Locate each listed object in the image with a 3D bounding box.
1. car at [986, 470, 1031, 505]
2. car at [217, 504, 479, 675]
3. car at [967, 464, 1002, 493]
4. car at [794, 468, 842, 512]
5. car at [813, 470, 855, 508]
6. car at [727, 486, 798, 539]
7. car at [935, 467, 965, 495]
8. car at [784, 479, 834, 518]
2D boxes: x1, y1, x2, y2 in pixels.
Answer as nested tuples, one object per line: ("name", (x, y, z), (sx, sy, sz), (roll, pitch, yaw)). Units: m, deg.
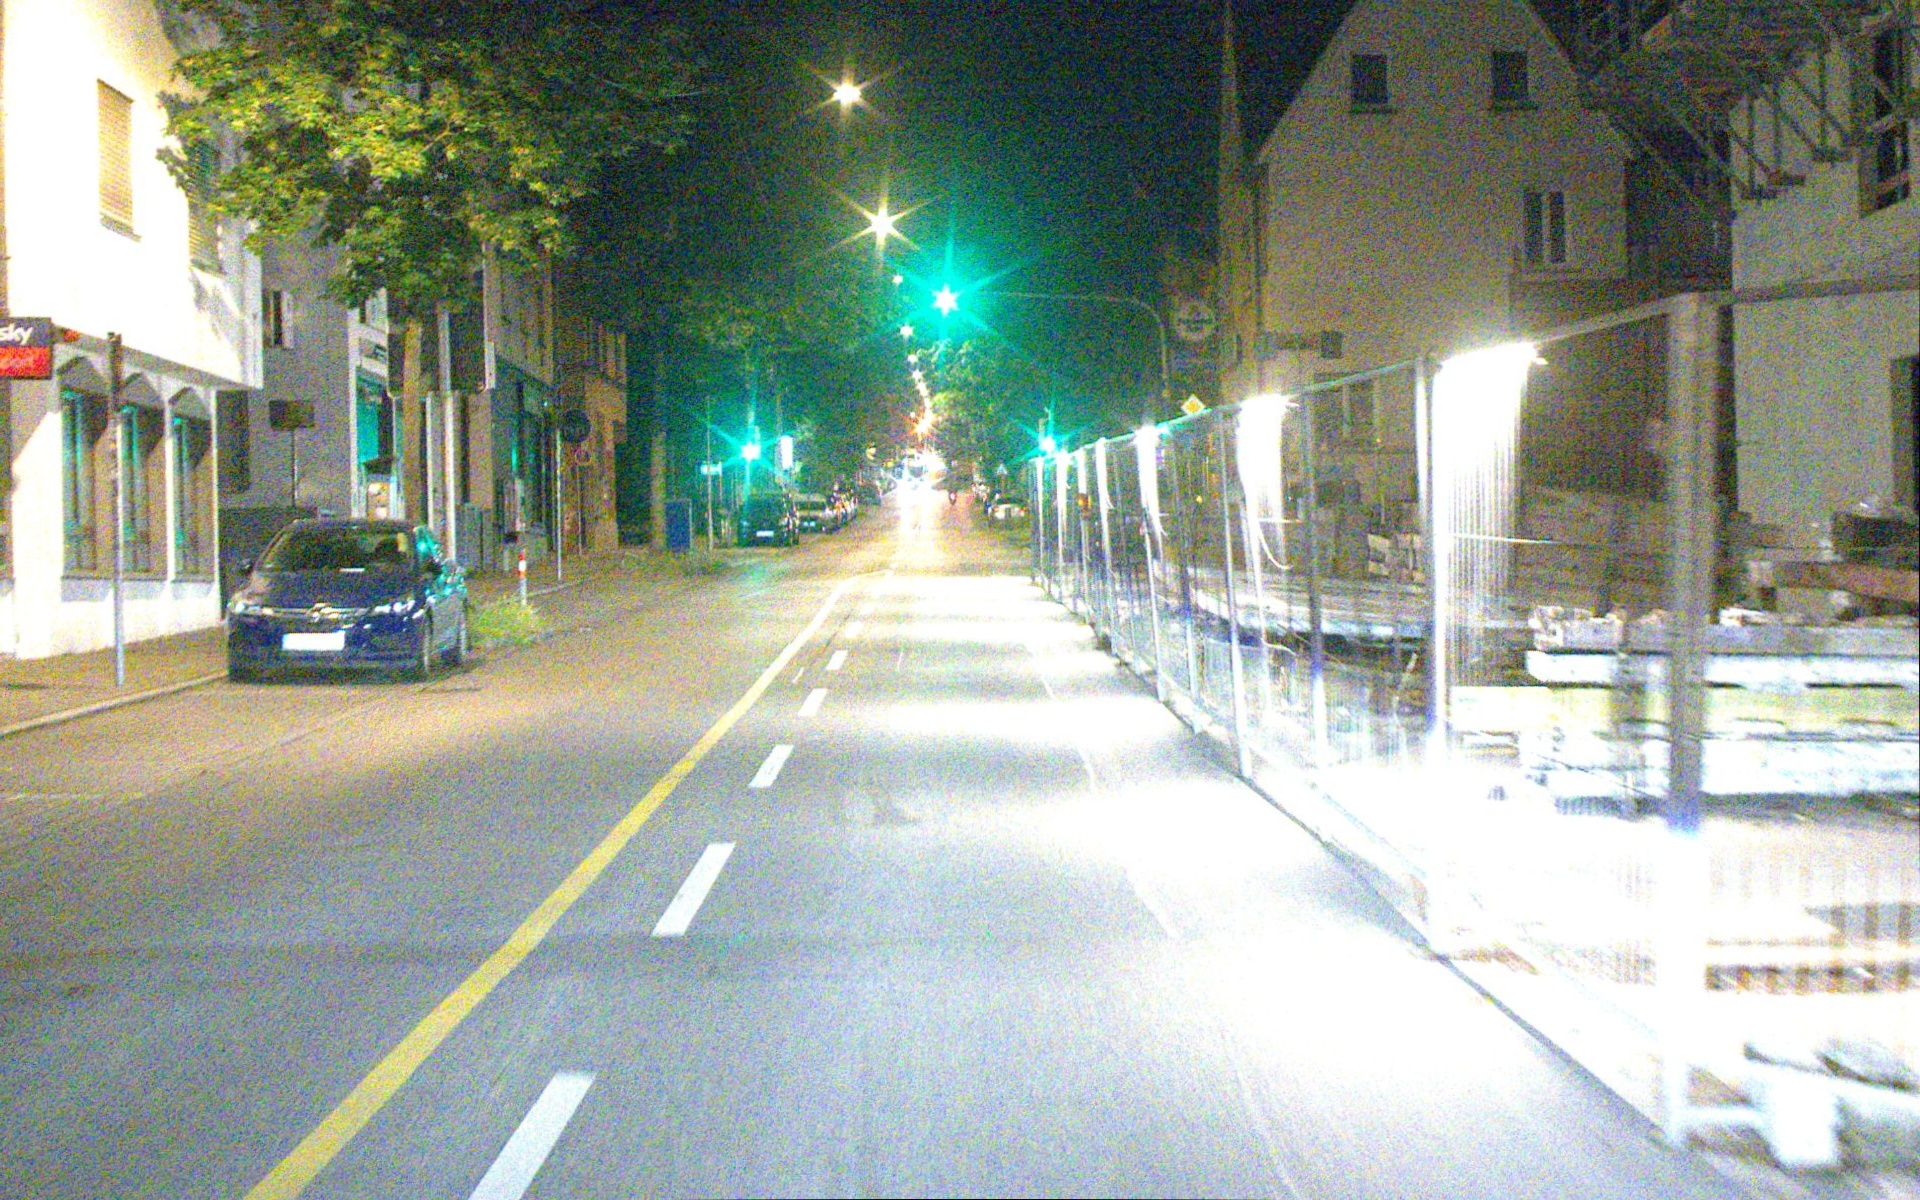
("car", (2.162, -5.048, 154.247), (1.873, 1.539, 4.205), (-1, 2, 0))
("car", (-5.594, -0.150, 31.862), (1.671, 1.438, 4.205), (-1, 2, 0))
("car", (1.355, -6.826, 193.170), (1.873, 1.539, 4.205), (-1, 2, 0))
("car", (-6.048, -4.726, 147.257), (1.873, 1.808, 4.205), (-1, 2, 0))
("car", (-6.045, -5.350, 165.549), (1.873, 1.808, 4.205), (-1, 2, 0))
("car", (-5.944, -2.650, 103.844), (1.873, 1.539, 4.205), (-1, 2, 0))
("car", (-0.672, -7.863, 228.164), (1.873, 1.808, 4.205), (-1, 2, 1))
("car", (-6.200, -4.174, 141.205), (1.873, 1.539, 4.205), (-1, 2, 0))
